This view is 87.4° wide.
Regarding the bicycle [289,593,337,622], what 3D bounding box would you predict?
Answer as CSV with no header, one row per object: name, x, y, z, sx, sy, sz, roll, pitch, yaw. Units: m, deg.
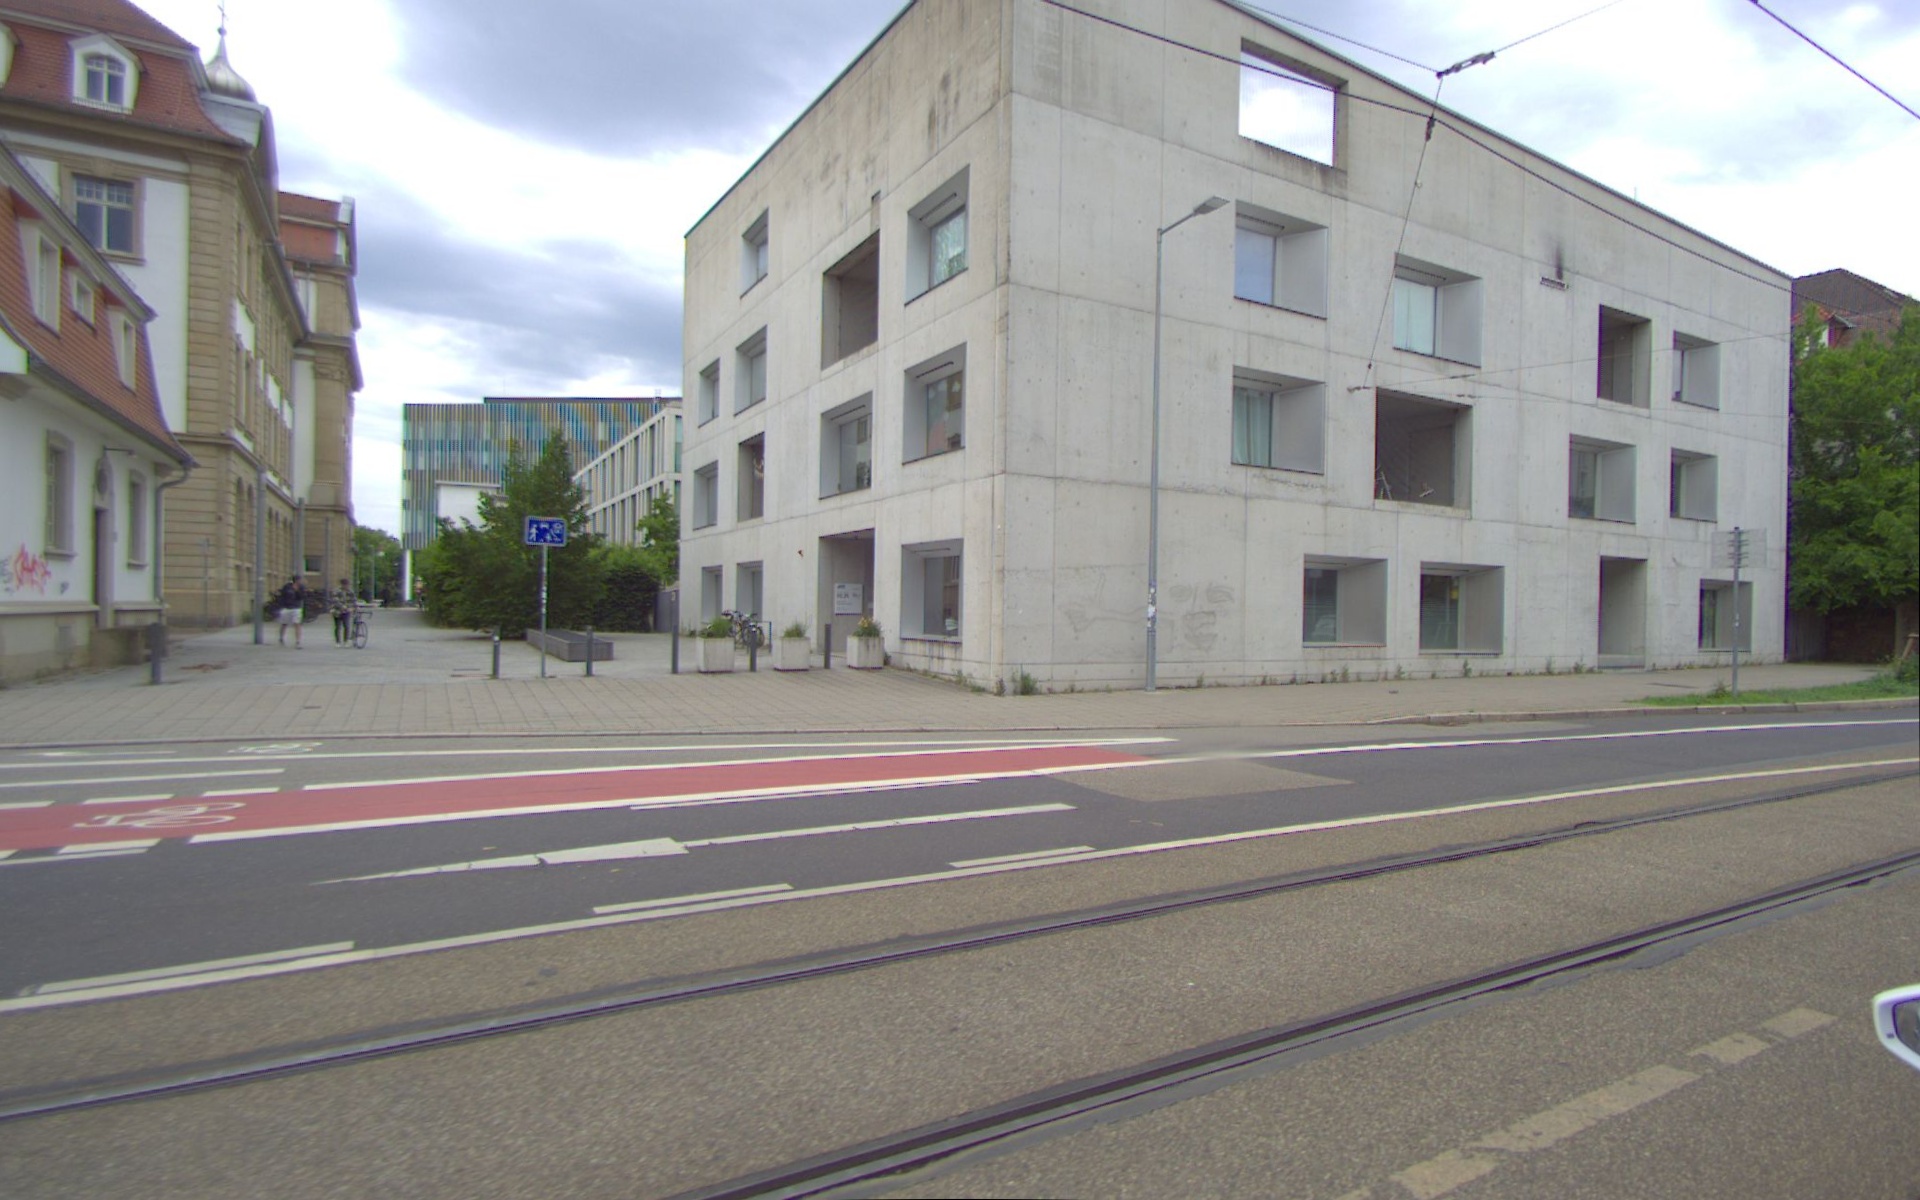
bicycle,-30.291,0.352,47.045,1.756,1.231,0.584,3,-1,-25

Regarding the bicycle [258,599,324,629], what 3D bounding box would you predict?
bicycle,-24.867,0.512,37.392,1.904,0.991,0.715,4,-1,-25

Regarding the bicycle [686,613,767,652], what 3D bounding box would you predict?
bicycle,-6.402,0.884,27.540,2.066,1.032,0.658,1,0,-30

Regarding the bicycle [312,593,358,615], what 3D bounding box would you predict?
bicycle,-33.220,0.208,53.401,1.904,1.088,0.715,4,-1,-25

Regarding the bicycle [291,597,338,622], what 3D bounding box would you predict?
bicycle,-29.671,0.438,46.202,1.692,1.088,0.544,3,-1,-25

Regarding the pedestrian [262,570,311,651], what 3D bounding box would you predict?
pedestrian,-16.274,0.255,24.272,0.680,1.910,0.752,2,-2,42

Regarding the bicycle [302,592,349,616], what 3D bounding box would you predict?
bicycle,-32.725,0.203,51.846,1.904,1.088,0.715,4,-1,-25

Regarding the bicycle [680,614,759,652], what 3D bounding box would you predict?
bicycle,-6.774,0.927,28.362,2.067,1.026,0.658,1,0,-32

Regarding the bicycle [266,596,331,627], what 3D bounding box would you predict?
bicycle,-25.217,0.438,38.310,1.904,1.088,0.715,4,-1,-25

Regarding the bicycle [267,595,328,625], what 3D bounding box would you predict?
bicycle,-26.958,0.418,40.893,1.904,1.088,0.715,4,-1,-25

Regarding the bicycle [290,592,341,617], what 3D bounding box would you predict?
bicycle,-31.044,0.217,48.428,1.904,1.088,0.715,4,-1,-25

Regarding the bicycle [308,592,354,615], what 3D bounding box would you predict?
bicycle,-32.908,0.209,52.565,1.904,1.088,0.715,4,-1,-25

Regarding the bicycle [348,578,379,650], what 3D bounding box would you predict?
bicycle,-15.285,0.340,25.731,0.927,1.804,0.357,1,-2,43

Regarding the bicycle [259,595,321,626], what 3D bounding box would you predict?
bicycle,-26.666,0.417,40.027,1.904,1.088,0.715,4,-1,-25

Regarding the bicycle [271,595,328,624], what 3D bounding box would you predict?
bicycle,-28.076,0.404,42.714,1.904,1.088,0.611,4,-1,-25

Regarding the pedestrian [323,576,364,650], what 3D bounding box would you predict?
pedestrian,-15.547,0.331,25.330,0.680,1.804,0.639,1,-2,44
